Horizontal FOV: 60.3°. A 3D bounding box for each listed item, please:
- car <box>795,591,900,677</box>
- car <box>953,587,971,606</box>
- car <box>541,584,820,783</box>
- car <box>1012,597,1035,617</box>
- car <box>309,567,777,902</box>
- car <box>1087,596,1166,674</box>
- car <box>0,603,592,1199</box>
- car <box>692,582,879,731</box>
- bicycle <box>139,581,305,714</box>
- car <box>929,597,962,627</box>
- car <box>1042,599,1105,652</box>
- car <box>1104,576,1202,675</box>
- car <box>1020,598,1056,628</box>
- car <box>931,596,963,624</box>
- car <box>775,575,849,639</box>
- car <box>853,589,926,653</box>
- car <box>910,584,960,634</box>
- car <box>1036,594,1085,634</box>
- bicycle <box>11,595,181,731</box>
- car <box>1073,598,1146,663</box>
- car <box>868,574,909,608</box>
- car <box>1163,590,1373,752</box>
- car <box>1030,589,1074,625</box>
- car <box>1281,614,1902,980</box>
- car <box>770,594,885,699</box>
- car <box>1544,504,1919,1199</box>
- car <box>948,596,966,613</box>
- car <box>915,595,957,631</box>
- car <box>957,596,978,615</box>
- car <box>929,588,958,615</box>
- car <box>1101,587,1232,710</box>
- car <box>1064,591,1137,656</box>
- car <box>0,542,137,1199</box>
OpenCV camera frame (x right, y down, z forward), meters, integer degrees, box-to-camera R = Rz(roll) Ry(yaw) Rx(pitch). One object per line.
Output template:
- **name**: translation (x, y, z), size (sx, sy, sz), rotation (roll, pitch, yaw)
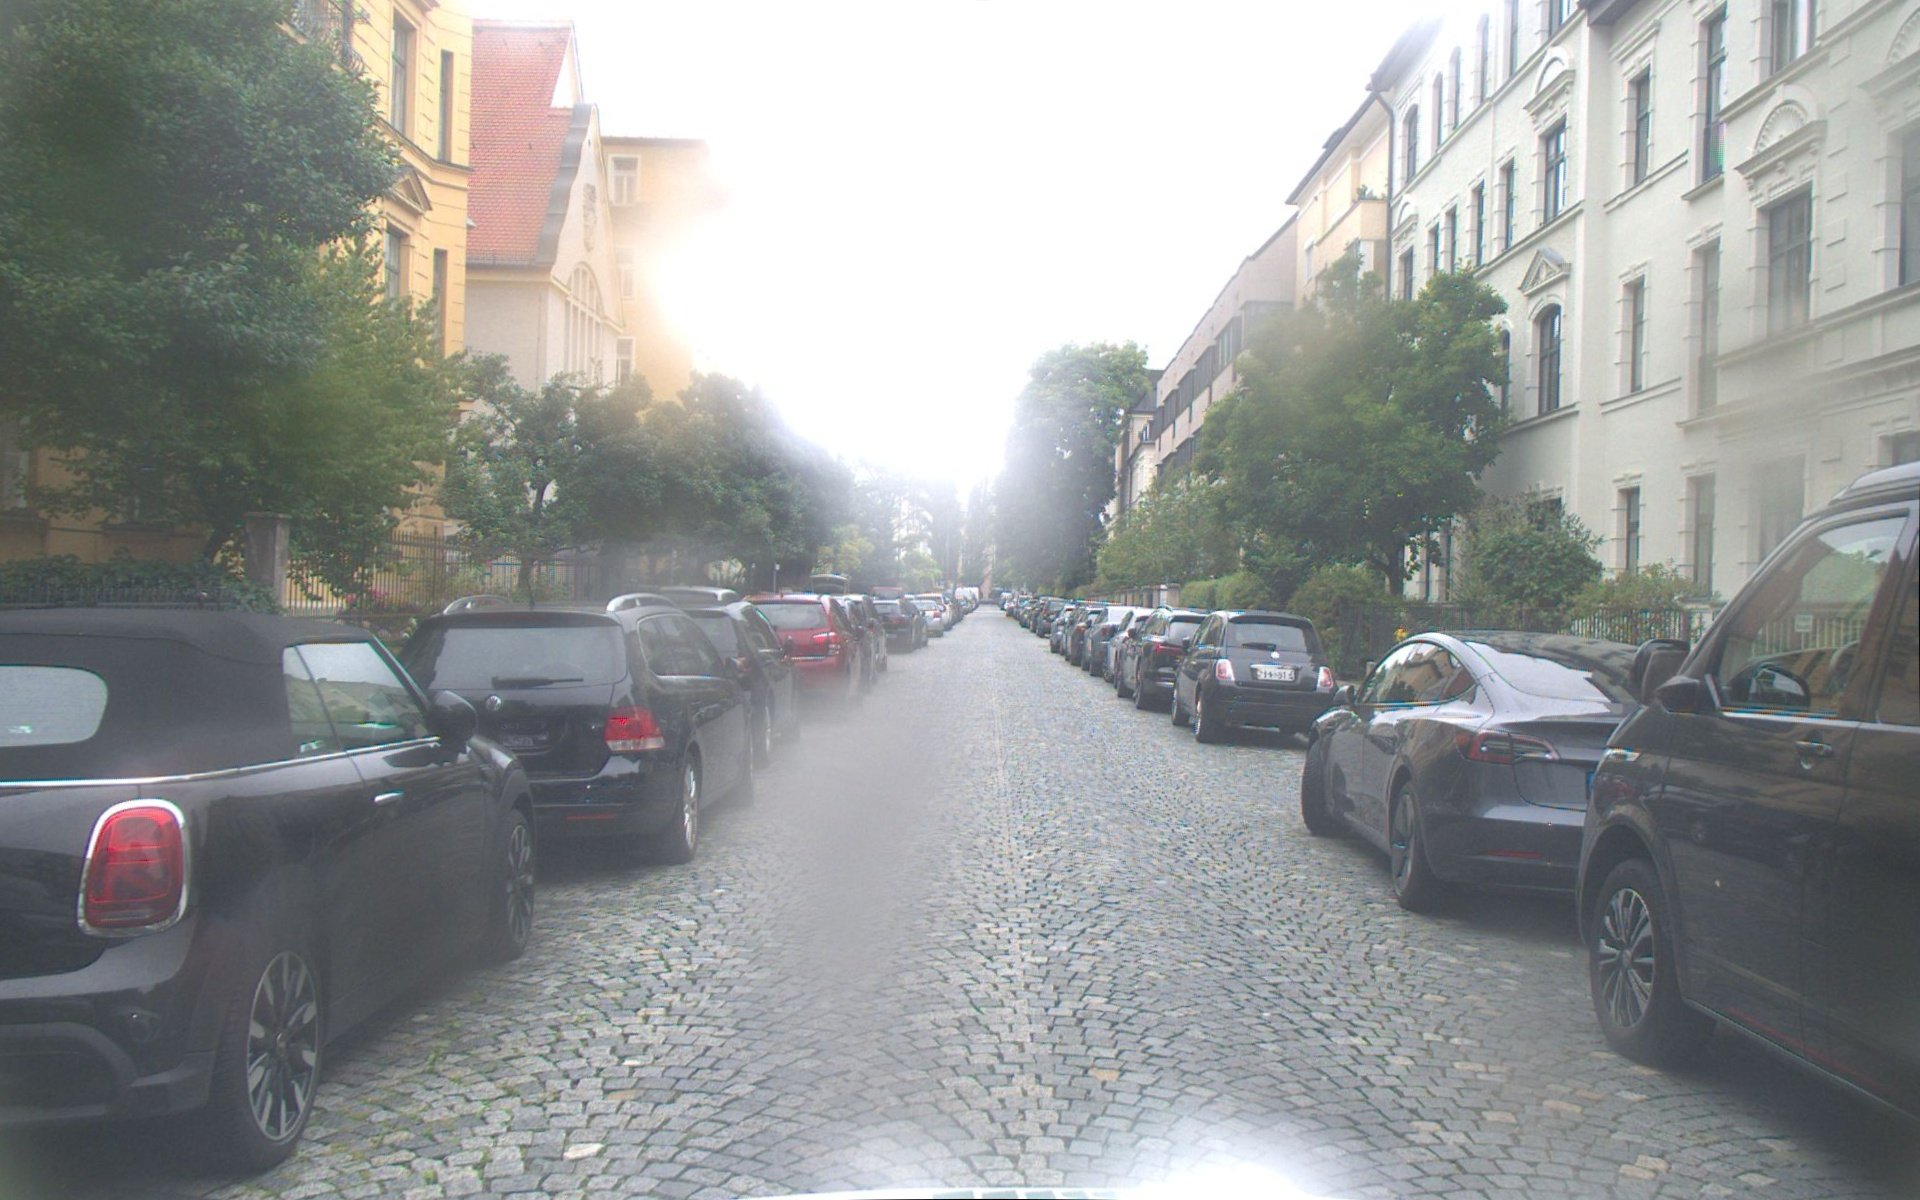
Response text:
- **car**: translation (-2.138, 0.628, 32.195), size (1.626, 1.561, 3.485), rotation (1, 0, 3)
- **car**: translation (0.202, -0.416, 189.152), size (1.953, 2.049, 3.998), rotation (1, -1, -2)
- **car**: translation (-2.486, 0.707, 15.709), size (1.882, 1.573, 4.000), rotation (-2, 0, 1)
- **car**: translation (5.666, 0.638, 148.345), size (1.882, 1.664, 3.739), rotation (-2, 0, 0)
- **car**: translation (-2.277, 0.670, 10.234), size (1.691, 1.567, 4.336), rotation (-2, 0, 1)
- **car**: translation (3.541, 0.723, 35.452), size (1.563, 1.529, 3.264), rotation (-2, 0, 5)
- **car**: translation (-2.478, 0.808, 5.544), size (1.669, 1.543, 3.726), rotation (-1, 0, -1)
- **car**: translation (-2.132, 0.674, 21.198), size (1.882, 1.664, 3.806), rotation (-2, 0, 1)
- **bicycle**: translation (-6.940, 0.434, 15.654), size (0.409, 1.163, 1.766), rotation (2, 0, 13)
- **car**: translation (-0.872, 0.715, 99.597), size (1.882, 1.664, 3.739), rotation (-2, 0, 0)
- **car**: translation (3.437, 0.757, 50.575), size (1.626, 1.491, 3.447), rotation (-2, 0, 0)
- **car**: translation (3.577, 0.453, 30.617), size (1.625, 1.664, 3.451), rotation (-2, 0, 7)
- **car**: translation (4.589, 0.742, 97.393), size (1.882, 1.664, 3.739), rotation (-2, 0, 0)
- **car**: translation (-0.814, 0.639, 104.756), size (1.882, 1.664, 3.739), rotation (-2, 0, 0)
- **car**: translation (-4.126, 0.200, 46.533), size (1.742, 1.664, 3.738), rotation (1, 0, -1)
- **car**: translation (-1.936, 0.569, 46.000), size (1.883, 1.664, 3.738), rotation (1, 0, -2)
- **car**: translation (-0.982, 0.359, 66.783), size (1.882, 1.871, 3.739), rotation (-2, 0, 0)
- **car**: translation (4.380, 0.615, 72.793), size (1.882, 1.664, 3.739), rotation (-2, 0, 0)
- **bicycle**: translation (-7.173, 0.494, 13.819), size (0.409, 1.045, 1.765), rotation (2, 0, 1)
- **car**: translation (3.615, 0.723, 40.511), size (1.625, 1.481, 3.449), rotation (-2, 0, 3)
- **car**: translation (-3.669, -0.433, 85.499), size (1.882, 1.664, 3.739), rotation (-2, 0, 0)
- **car**: translation (3.636, 0.789, 20.219), size (1.882, 1.663, 4.047), rotation (3, 0, 2)
- **car**: translation (4.449, 0.343, 80.741), size (1.882, 1.664, 3.739), rotation (-2, 0, 0)
- **car**: translation (3.257, 0.891, 9.728), size (1.882, 1.459, 4.802), rotation (4, 0, 2)
- **car**: translation (-2.011, 0.695, 25.697), size (1.402, 1.485, 2.651), rotation (-2, 0, 2)
- **car**: translation (3.289, 0.653, 4.121), size (1.980, 1.720, 4.851), rotation (2, 0, 1)
- **car**: translation (-0.315, 0.484, 174.098), size (1.882, 1.664, 3.739), rotation (-2, 0, 0)
- **car**: translation (-1.128, 0.624, 79.759), size (1.882, 1.664, 3.739), rotation (-2, 0, 0)
- **car**: translation (0.734, 0.552, 156.095), size (1.882, 1.664, 3.739), rotation (-2, 0, 0)
- **car**: translation (-1.092, 0.109, 110.960), size (1.882, 1.664, 3.739), rotation (-2, 0, 0)
- **car**: translation (2.969, 0.666, 24.310), size (1.626, 1.664, 3.540), rotation (1, 0, 3)
- **car**: translation (3.837, 0.635, 45.529), size (1.626, 1.664, 3.447), rotation (-2, 0, 0)
- **car**: translation (-2.567, 0.689, 0.882), size (1.768, 1.531, 5.176), rotation (-1, 0, -2)
